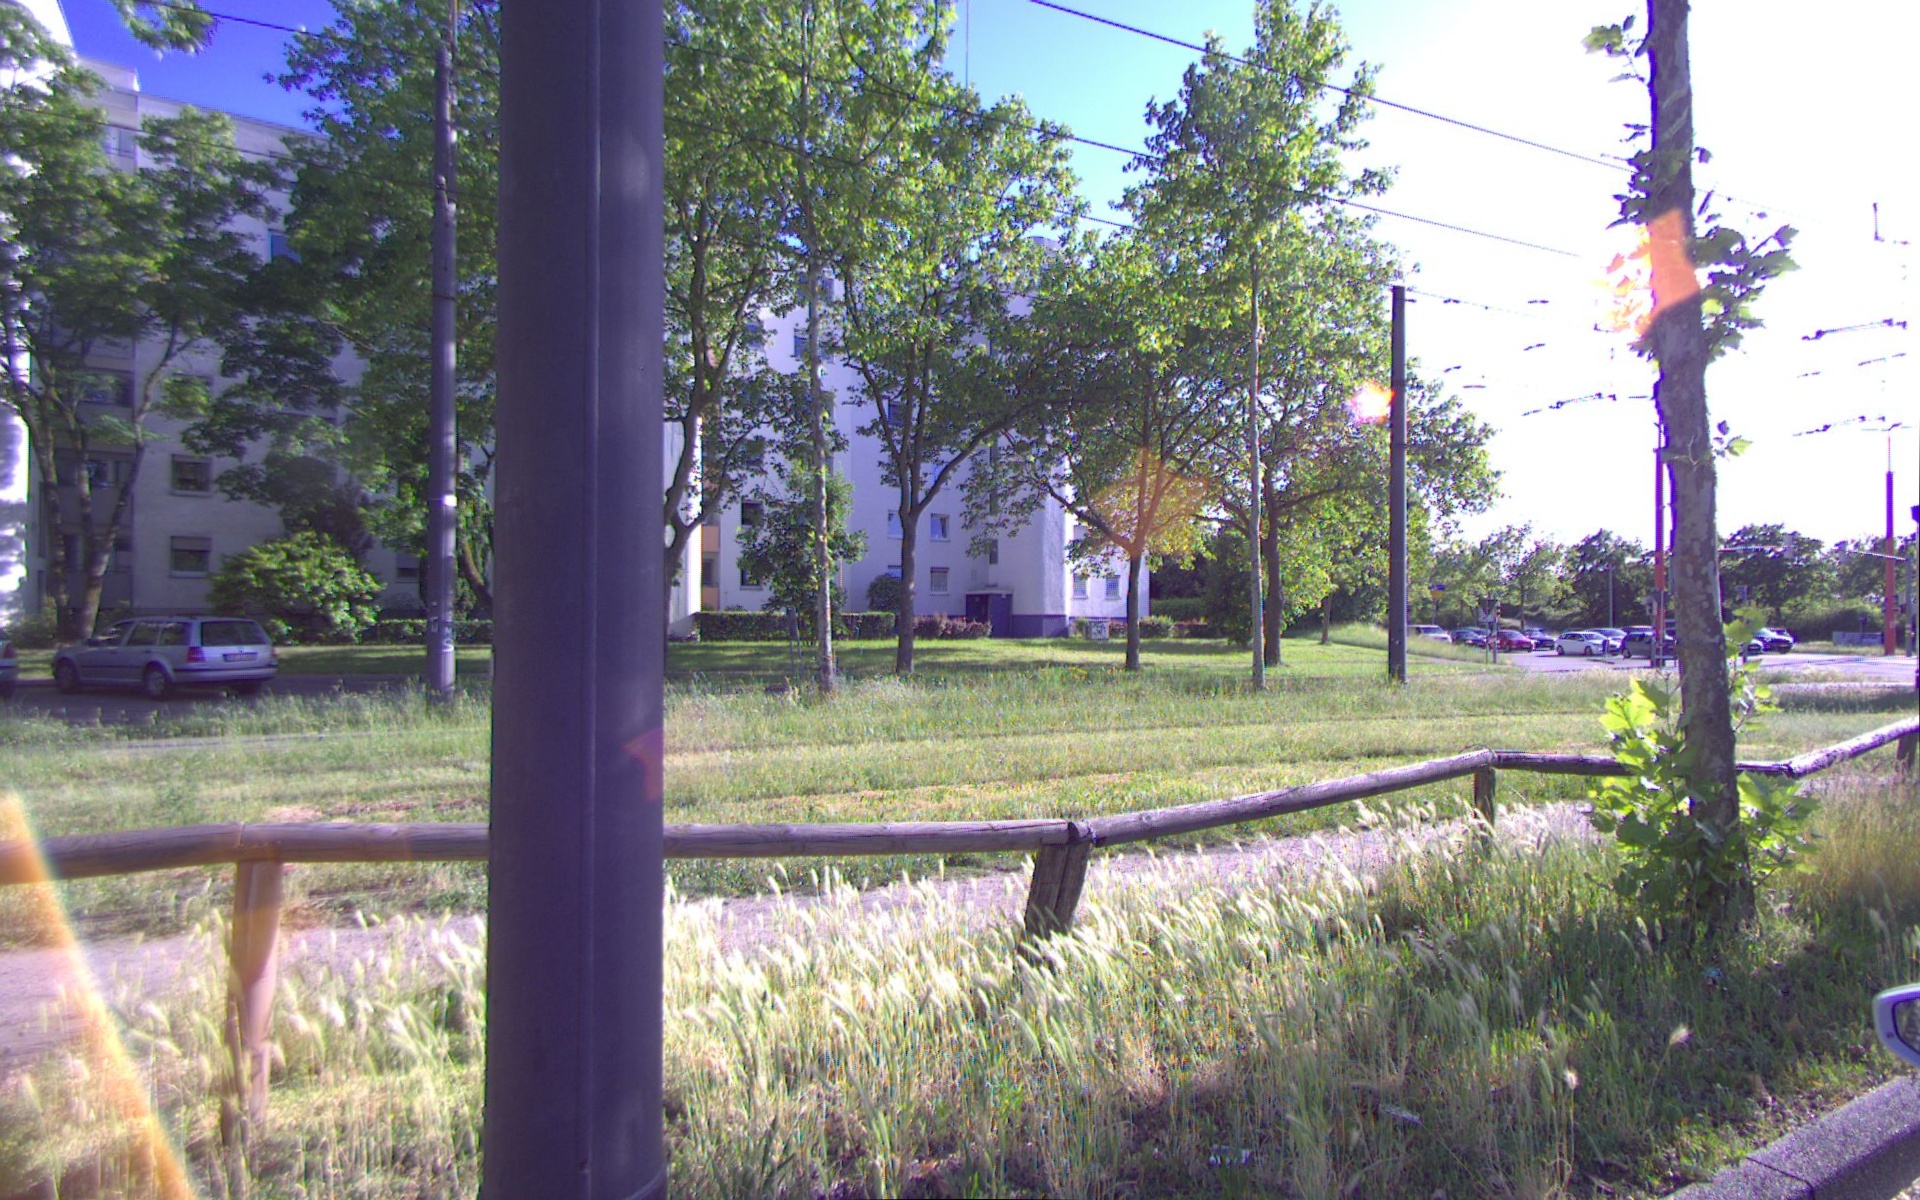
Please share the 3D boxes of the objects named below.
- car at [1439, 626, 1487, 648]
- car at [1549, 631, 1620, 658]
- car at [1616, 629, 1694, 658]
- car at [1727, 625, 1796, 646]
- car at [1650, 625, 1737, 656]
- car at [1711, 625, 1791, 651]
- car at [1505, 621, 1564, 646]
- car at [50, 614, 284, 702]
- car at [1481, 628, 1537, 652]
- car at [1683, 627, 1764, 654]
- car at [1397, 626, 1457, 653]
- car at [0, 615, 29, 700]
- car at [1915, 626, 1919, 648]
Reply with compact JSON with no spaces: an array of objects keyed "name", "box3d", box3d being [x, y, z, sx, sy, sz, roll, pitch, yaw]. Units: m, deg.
[{"name":"car","box3d":[38.664,2.813,77.244,1.624,1.540,4.200,1,-1,1]},{"name":"car","box3d":[38.921,2.753,62.726,1.624,1.540,4.638,1,-1,1]},{"name":"car","box3d":[38.968,2.406,56.438,1.624,1.460,3.841,1,-1,-2]},{"name":"car","box3d":[59.857,2.615,75.074,1.625,1.421,4.128,1,-1,-6]},{"name":"car","box3d":[42.330,2.307,58.095,1.624,1.669,4.644,1,-1,1]},{"name":"car","box3d":[48.656,2.321,61.885,1.513,1.434,4.154,1,-1,-3]},{"name":"car","box3d":[42.273,2.429,74.060,1.721,1.669,4.644,1,-1,1]},{"name":"car","box3d":[-14.534,1.007,18.422,3.830,1.421,1.581,1,0,20]},{"name":"car","box3d":[38.451,2.774,70.441,1.624,1.540,4.200,1,-1,1]},{"name":"car","box3d":[45.577,2.391,60.052,1.513,1.434,4.154,1,-1,-3]},{"name":"car","box3d":[34.931,2.934,75.241,1.799,1.845,4.897,1,-1,-6]},{"name":"car","box3d":[-17.984,0.944,17.148,3.567,1.421,1.581,1,0,20]},{"name":"car","box3d":[63.542,2.387,63.956,1.626,1.421,3.800,1,-1,-6]}]
